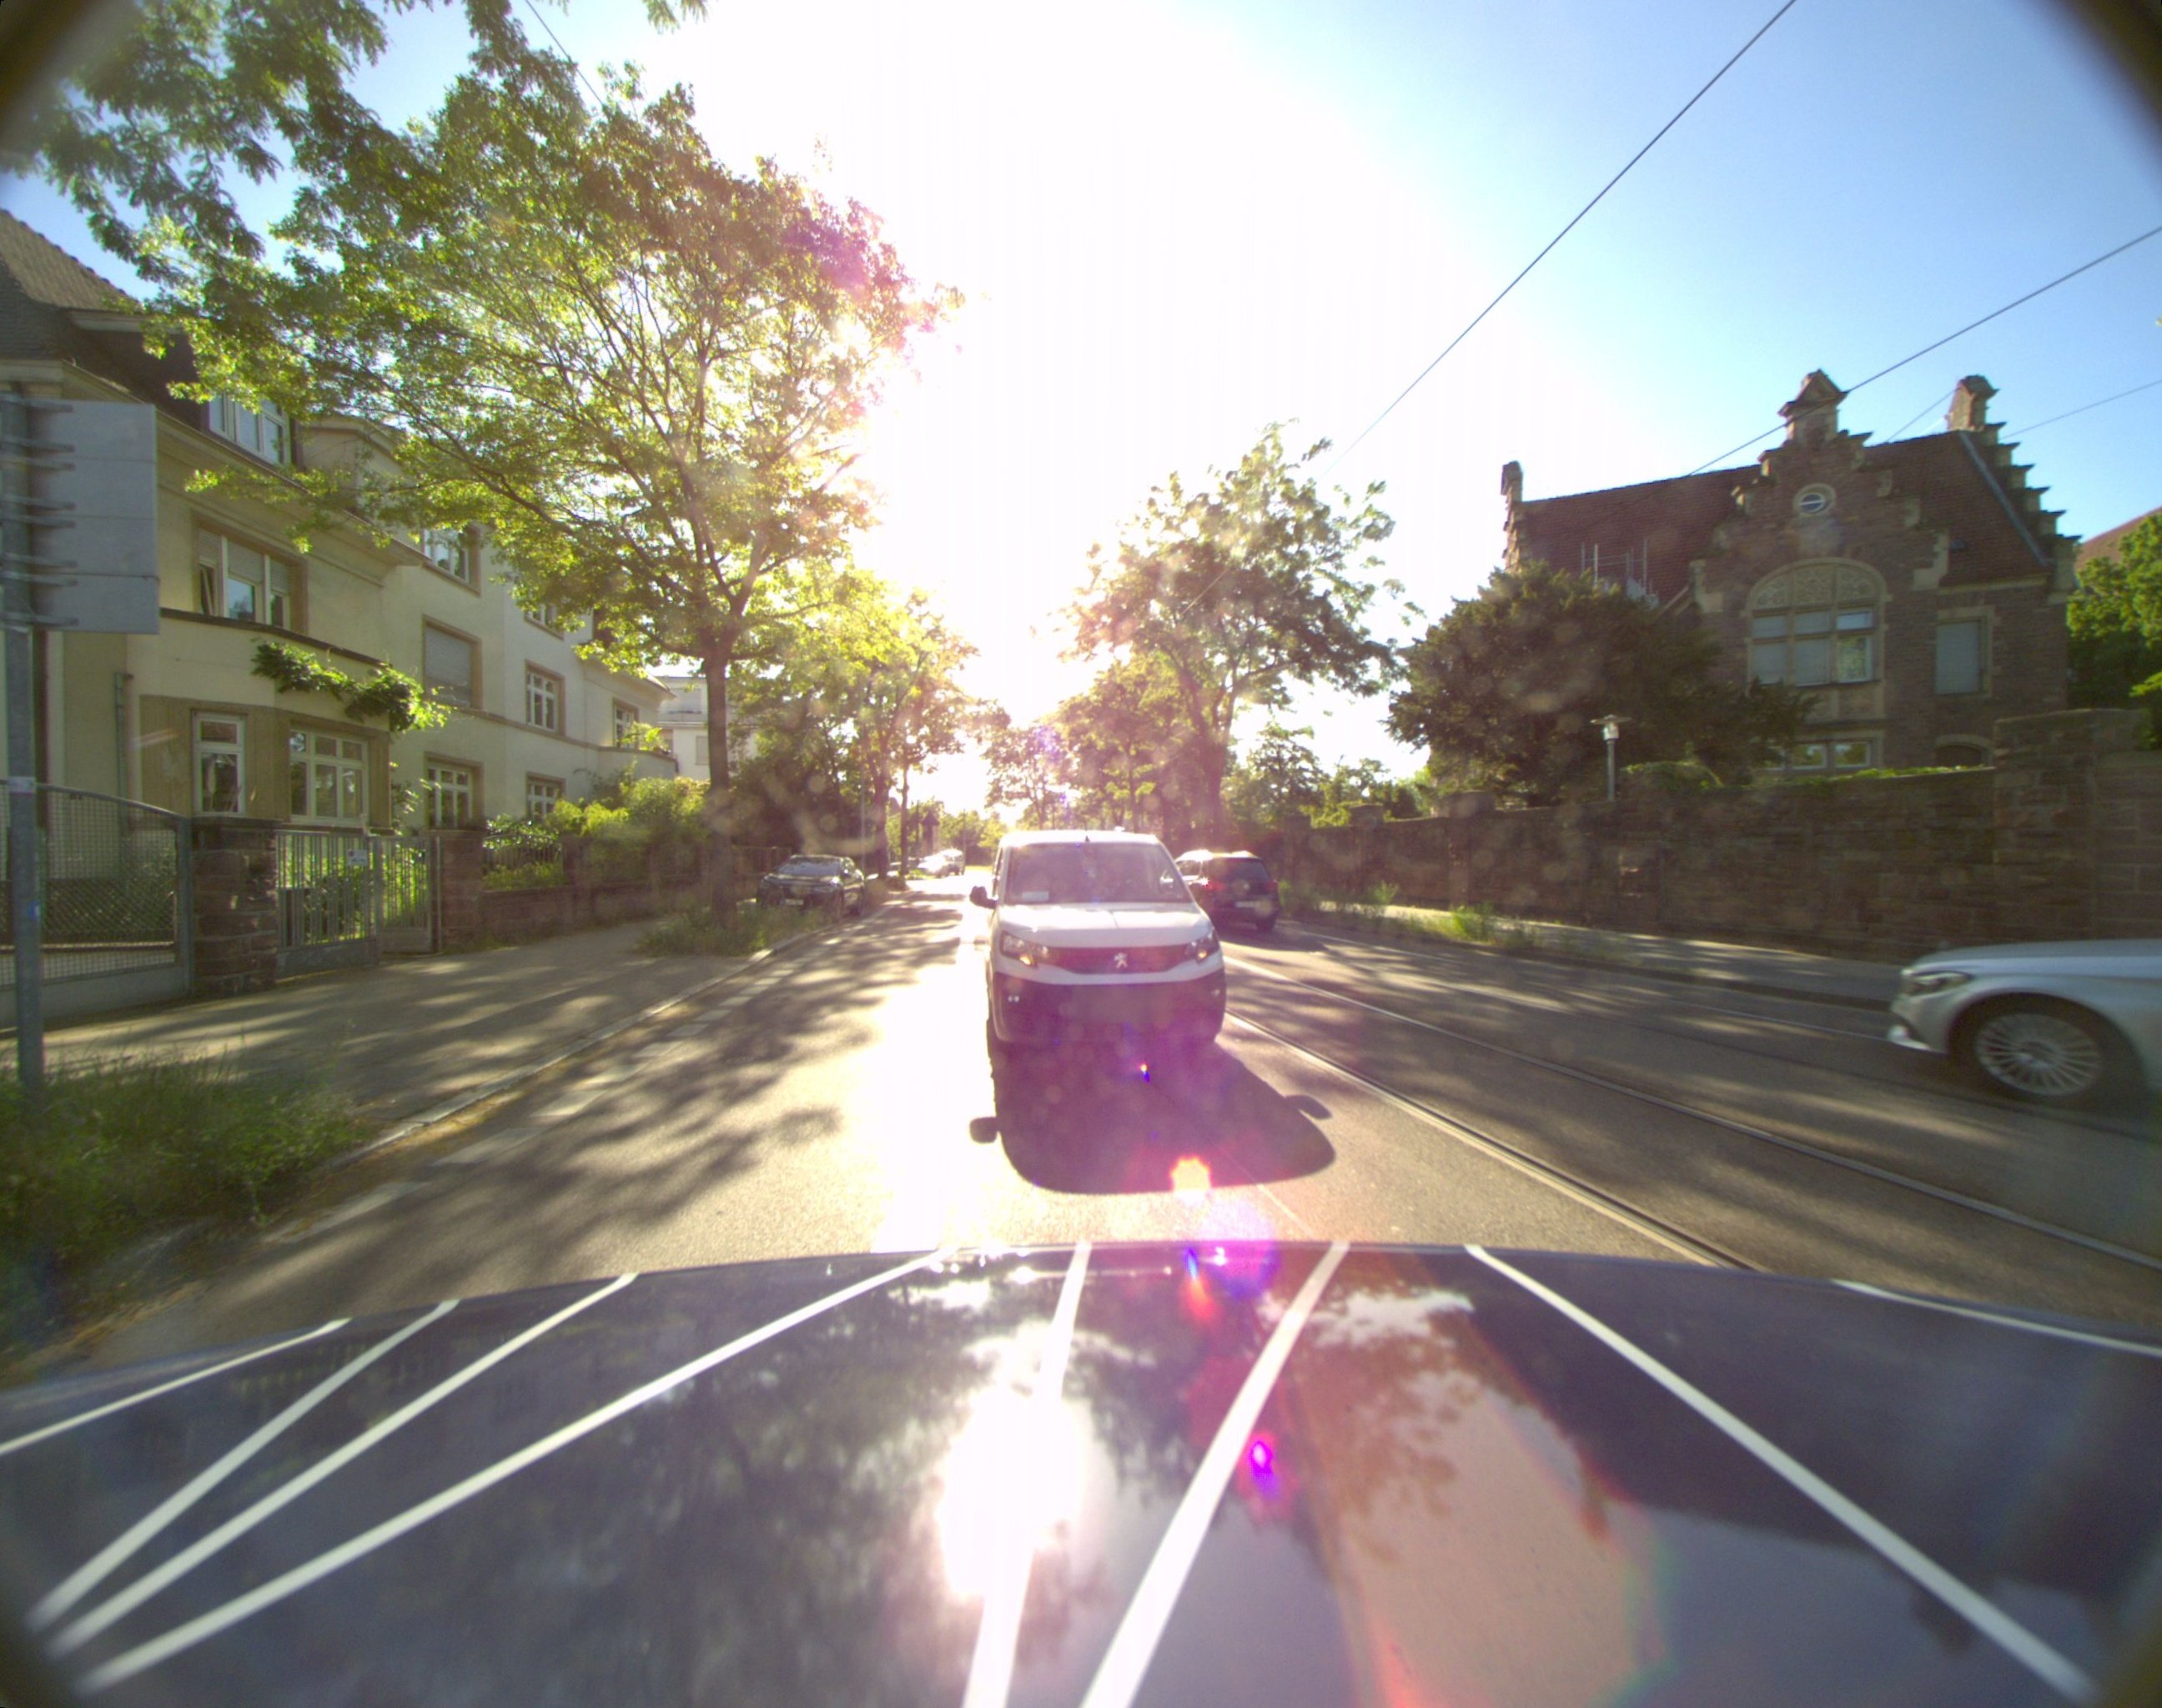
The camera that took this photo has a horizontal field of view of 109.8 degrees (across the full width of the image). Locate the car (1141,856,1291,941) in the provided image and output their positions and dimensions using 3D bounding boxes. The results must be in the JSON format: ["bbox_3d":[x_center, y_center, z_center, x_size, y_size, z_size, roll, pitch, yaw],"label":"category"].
[{"bbox_3d":[2.819,0.866,16.838,1.802,1.628,4.114,0,0,-13],"label":"car"}]

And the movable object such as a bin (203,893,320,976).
[{"bbox_3d":[-11.228,1.079,10.428,0.965,1.049,0.728,-1,1,19],"label":"movable object such as a bin"}]

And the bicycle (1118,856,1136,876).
[{"bbox_3d":[2.850,0.712,47.534,0.774,1.184,2.101,-1,1,-5],"label":"bicycle"}]

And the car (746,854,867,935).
[{"bbox_3d":[-6.780,0.907,19.256,2.000,1.733,4.167,-1,1,-7],"label":"car"}]

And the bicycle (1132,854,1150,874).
[{"bbox_3d":[3.780,0.609,48.029,0.734,1.184,2.087,-1,1,-5],"label":"bicycle"}]

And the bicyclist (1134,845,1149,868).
[{"bbox_3d":[3.790,0.143,47.919,0.734,1.383,1.060,-1,1,-5],"label":"bicyclist"}]

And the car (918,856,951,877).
[{"bbox_3d":[-10.157,0.868,52.964,1.720,1.332,3.916,-1,1,-3],"label":"car"}]

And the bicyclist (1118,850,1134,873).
[{"bbox_3d":[2.834,0.480,47.676,0.768,1.383,1.271,-1,1,-5],"label":"bicyclist"}]

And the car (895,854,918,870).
[{"bbox_3d":[-17.813,0.799,77.788,1.742,1.434,3.997,-1,1,-5],"label":"car"}]

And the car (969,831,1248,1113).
[{"bbox_3d":[-0.054,0.746,7.185,1.833,1.788,4.331,-2,1,-7],"label":"car"}]

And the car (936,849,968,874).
[{"bbox_3d":[-10.023,0.538,59.376,1.905,1.819,4.246,-1,1,-3],"label":"car"}]

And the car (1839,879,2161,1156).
[{"bbox_3d":[7.122,0.894,3.614,1.892,1.407,4.614,-1,0,-28],"label":"car"}]
